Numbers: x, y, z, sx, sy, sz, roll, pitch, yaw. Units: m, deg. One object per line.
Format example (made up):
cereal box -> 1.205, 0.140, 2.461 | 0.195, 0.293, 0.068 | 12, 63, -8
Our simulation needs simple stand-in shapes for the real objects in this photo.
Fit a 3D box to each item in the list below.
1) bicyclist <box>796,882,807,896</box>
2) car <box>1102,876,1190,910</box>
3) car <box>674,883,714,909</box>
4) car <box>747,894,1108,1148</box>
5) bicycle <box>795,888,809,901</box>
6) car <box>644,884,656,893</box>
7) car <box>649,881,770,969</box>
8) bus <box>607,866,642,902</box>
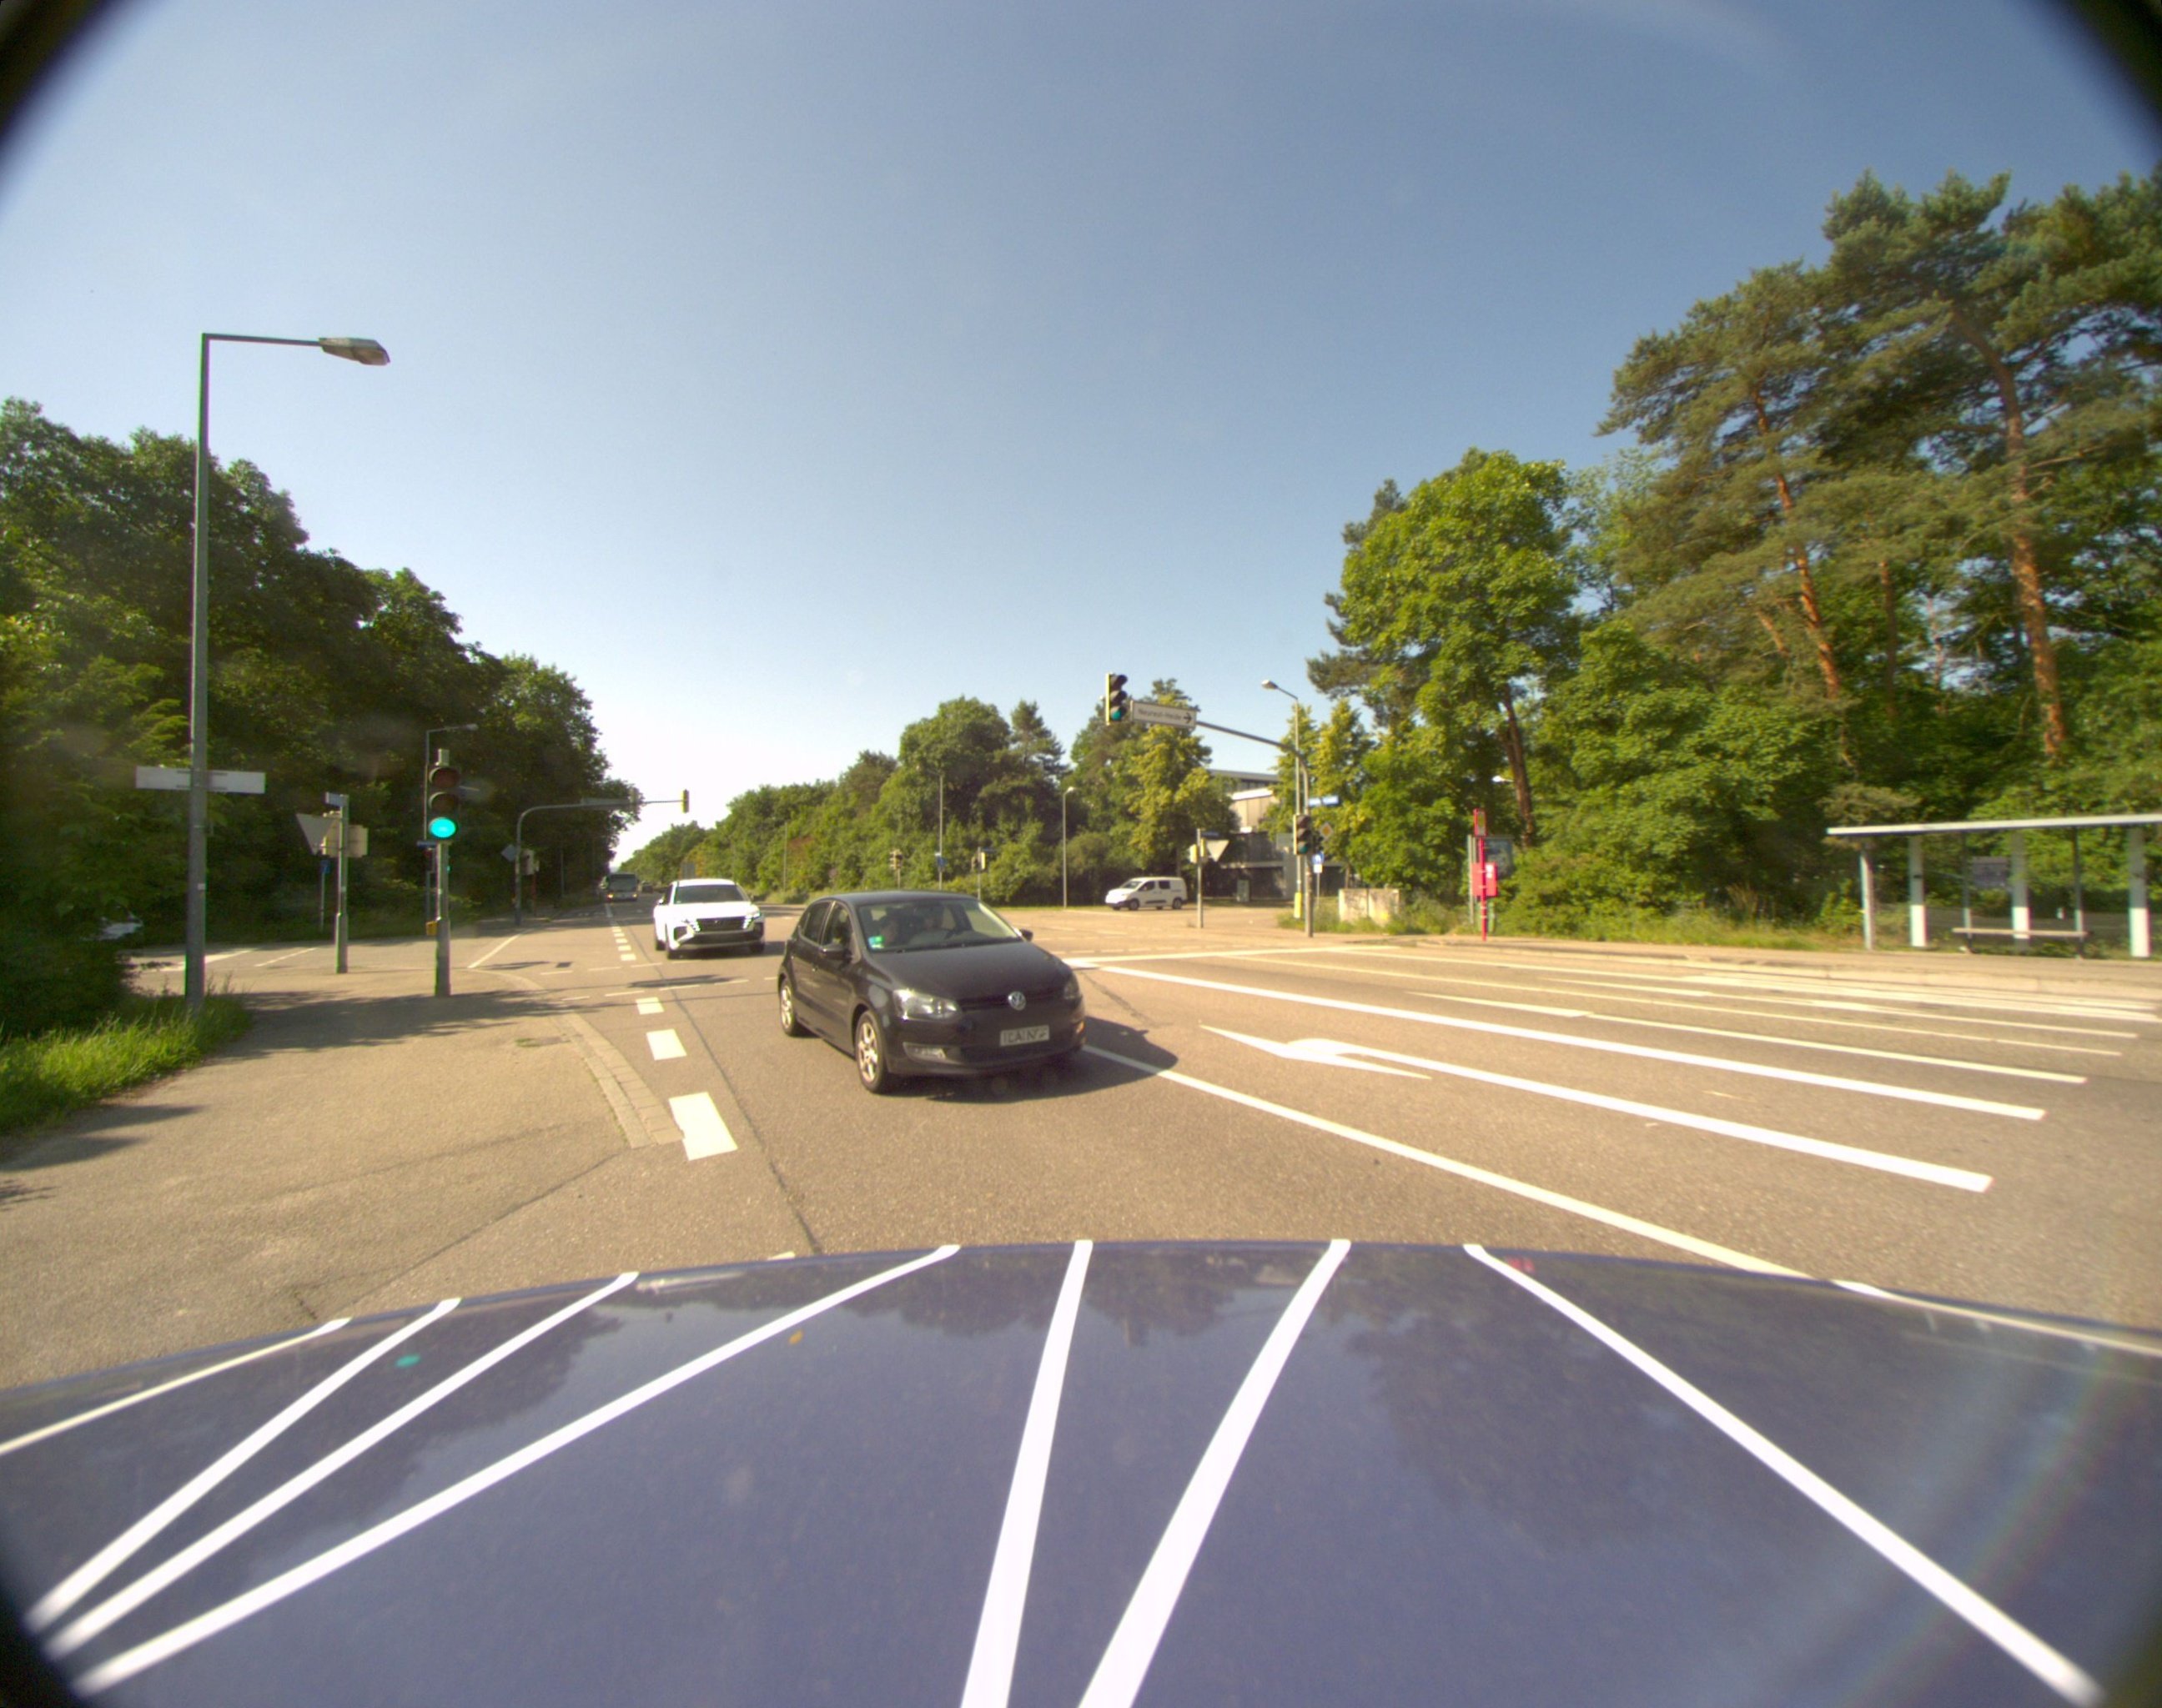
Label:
bicyclist -> -26.874, 3.344, 73.026 | 0.725, 1.303, 0.881 | 0, -2, -34
car -> 3.623, 2.148, 42.192 | 4.670, 1.767, 1.848 | 2, -2, -32
car -> -23.683, 2.536, 46.411 | 1.793, 1.415, 4.413 | -2, -1, -32
car -> -1.655, 1.136, 6.787 | 1.654, 1.422, 4.045 | -3, -1, -34
bicycle -> -26.821, 3.889, 72.975 | 0.736, 1.156, 2.367 | 0, -2, -34
car -> -84.837, 6.742, 149.431 | 1.800, 1.686, 4.381 | 1, -2, -32
car -> -8.390, 1.456, 16.943 | 1.817, 1.638, 4.297 | -2, -1, -34
bus -> -47.023, 3.047, 78.131 | 2.789, 3.437, 7.775 | -2, 0, -32
